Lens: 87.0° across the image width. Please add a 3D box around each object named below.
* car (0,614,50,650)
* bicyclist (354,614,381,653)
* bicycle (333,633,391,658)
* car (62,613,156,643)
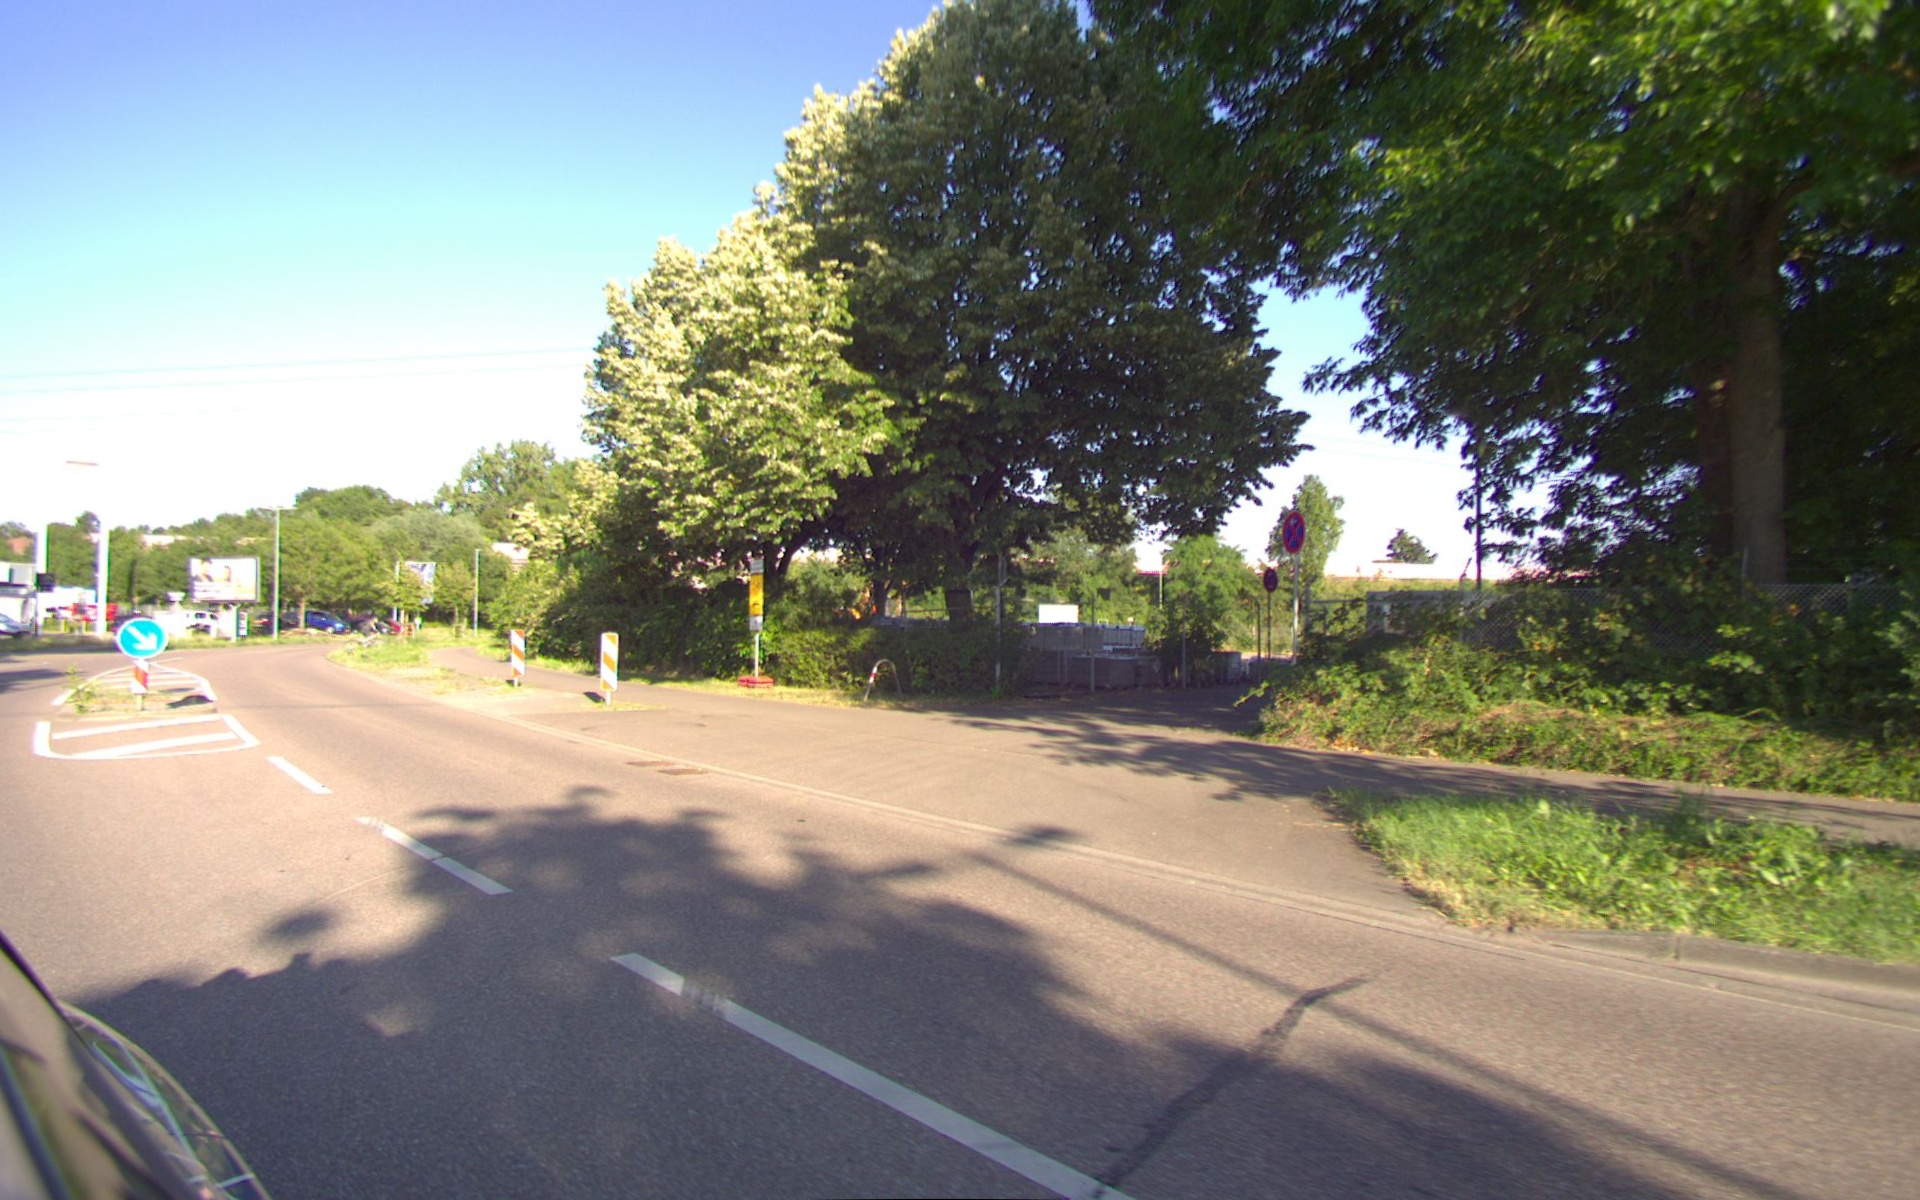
[{"bbox_3d":[-55.524,1.792,57.454,5.201,2.029,2.412,1,-2,-15],"label":"car"},{"bbox_3d":[-27.171,1.550,46.412,0.938,1.766,0.915,2,-3,-24],"label":"bicyclist"},{"bbox_3d":[-27.228,2.067,46.119,2.125,1.109,0.928,2,-3,-21],"label":"bicycle"},{"bbox_3d":[-60.380,2.004,71.874,4.780,2.029,2.299,1,-2,1],"label":"car"}]
